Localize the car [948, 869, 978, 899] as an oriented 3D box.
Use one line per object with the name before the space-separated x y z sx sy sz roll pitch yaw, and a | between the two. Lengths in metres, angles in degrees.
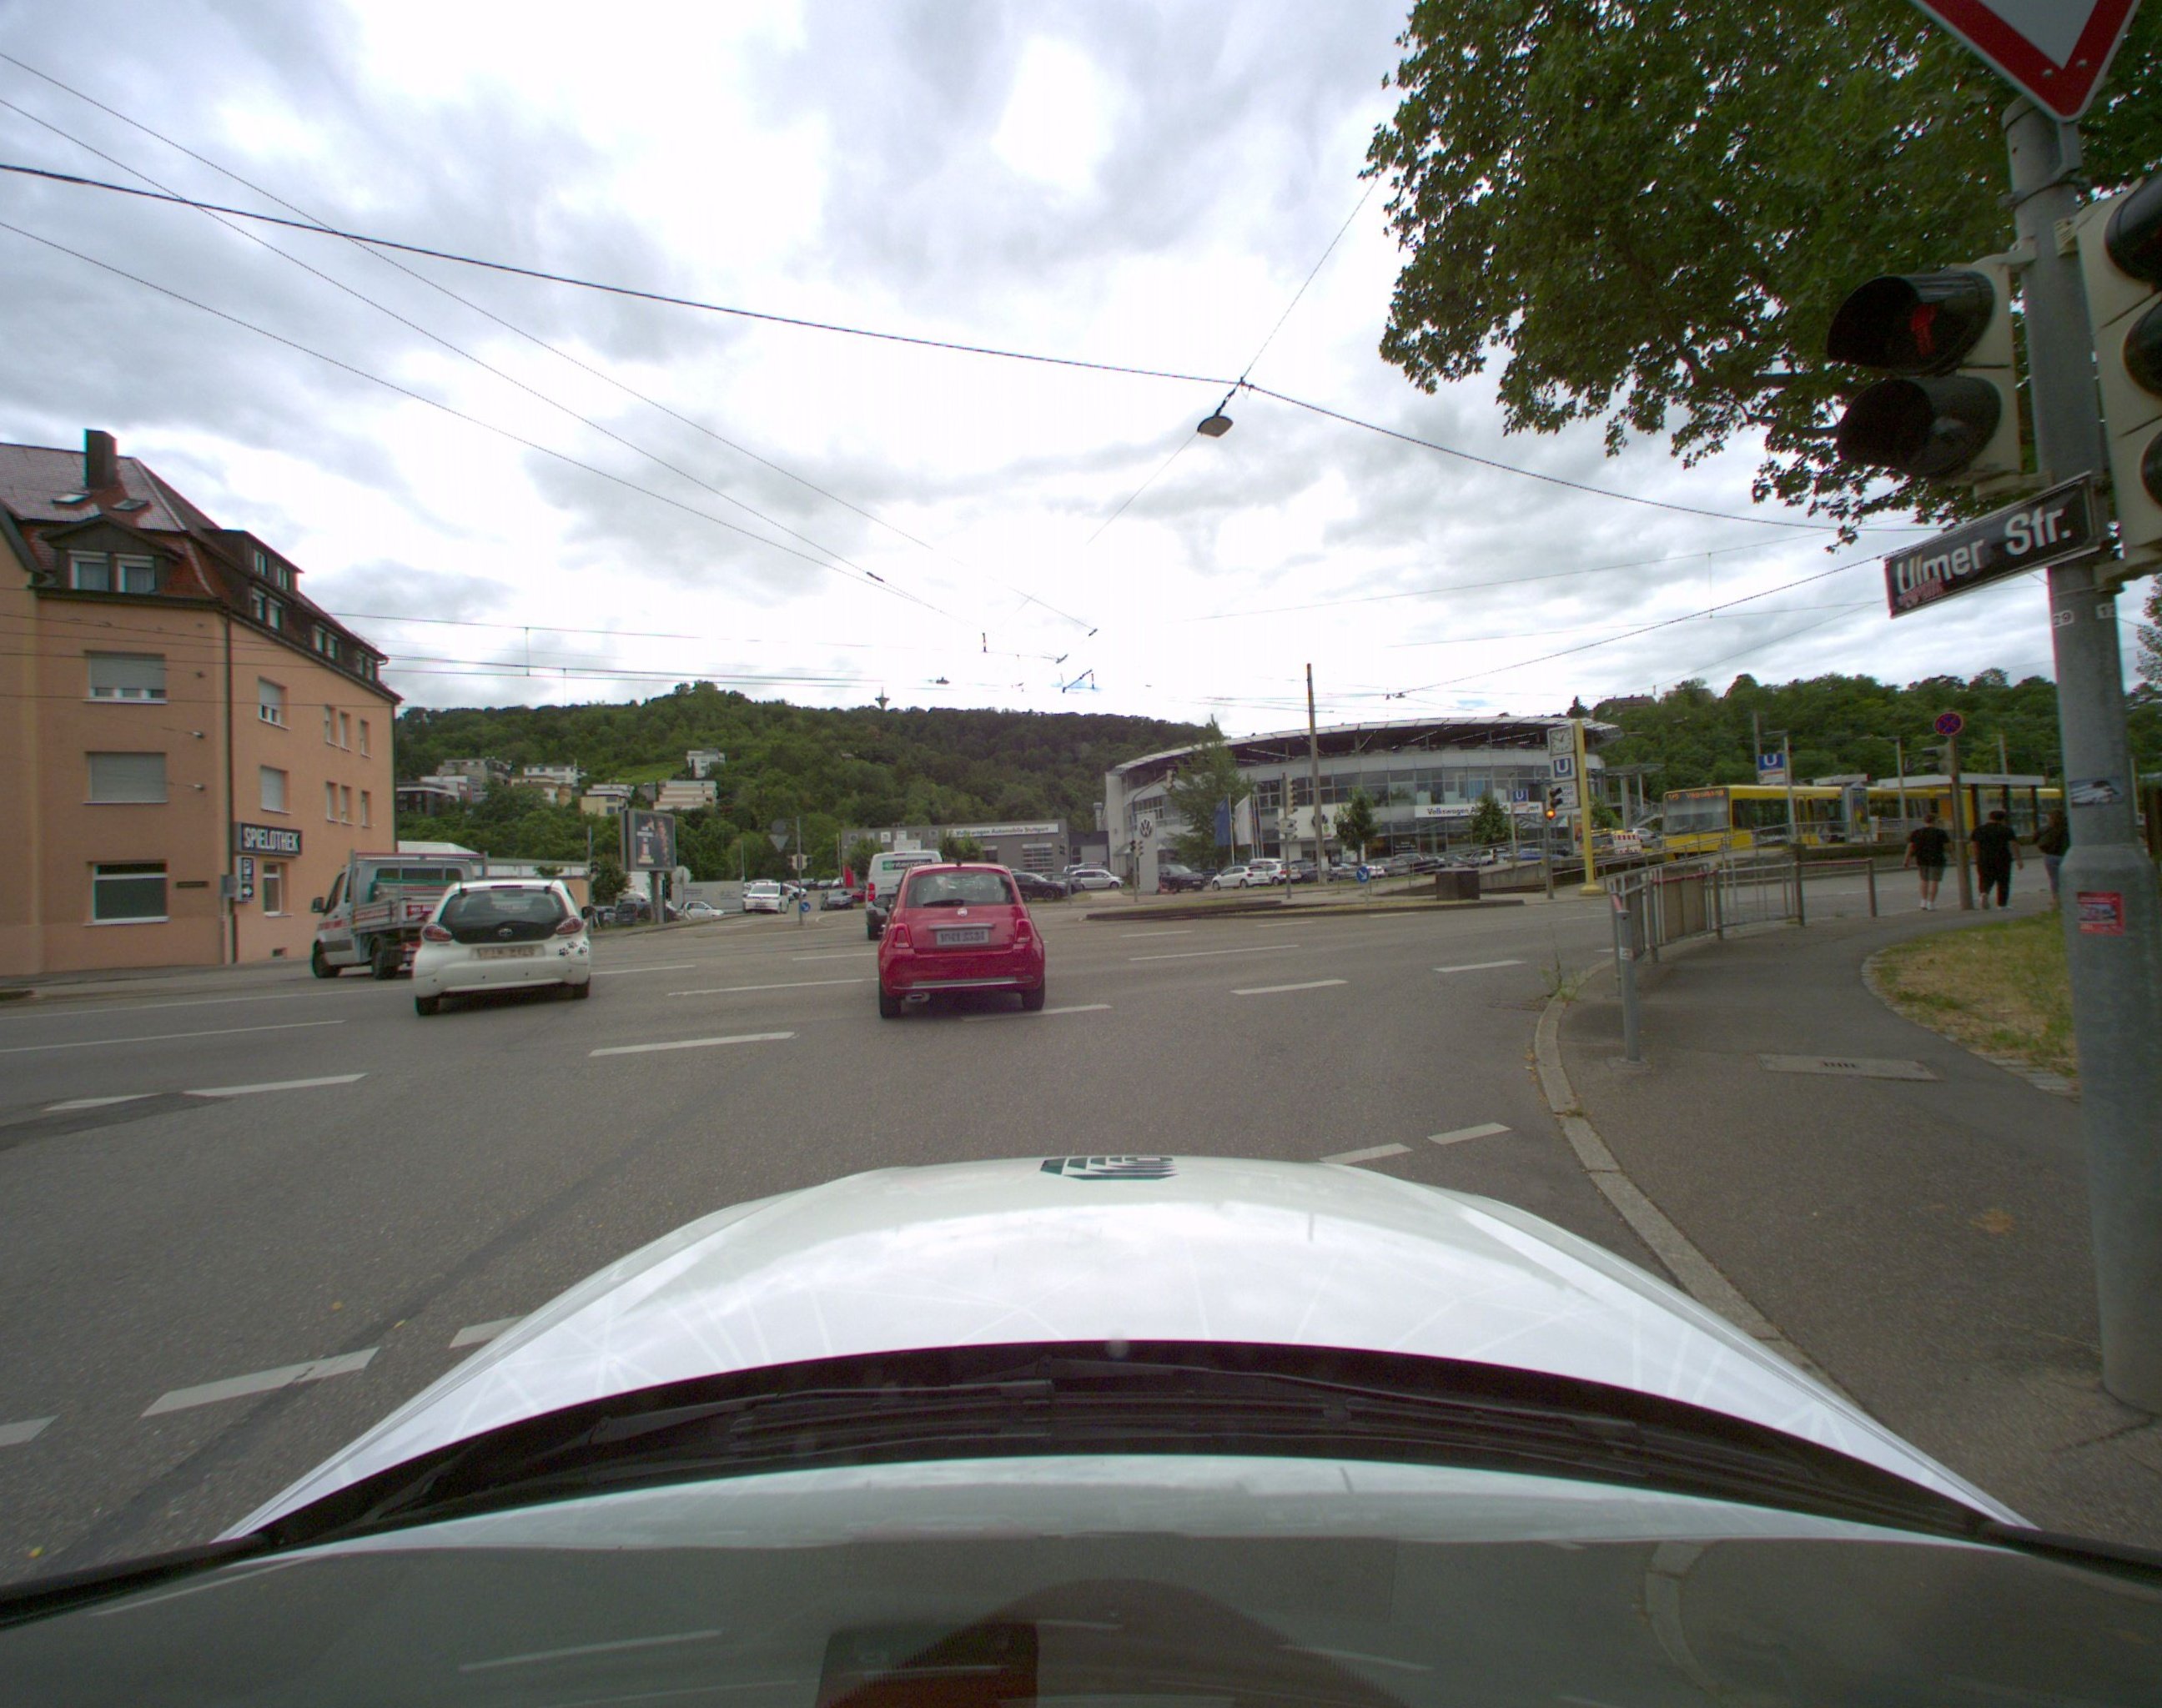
car | -8.759 2.269 60.686 1.992 2.014 5.004 -3 -3 -7

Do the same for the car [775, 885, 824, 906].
car | -28.229 4.184 81.705 4.506 1.997 1.988 1 -3 -17

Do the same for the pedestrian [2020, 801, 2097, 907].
pedestrian | 15.987 0.020 13.329 0.673 1.690 0.599 2 -4 -26

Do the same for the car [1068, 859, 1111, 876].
car | 0.925 1.511 88.241 4.488 1.729 1.996 1 -3 -5

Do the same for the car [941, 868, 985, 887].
car | -11.315 2.288 78.108 3.976 1.794 1.852 0 -3 -2

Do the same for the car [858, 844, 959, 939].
car | -4.388 0.976 20.174 2.004 2.041 4.801 1 -4 -18

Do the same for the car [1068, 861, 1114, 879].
car | 0.987 1.611 83.054 4.488 1.729 1.996 1 -3 -5

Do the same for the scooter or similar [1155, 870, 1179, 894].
scooter or similar | 4.742 1.556 44.964 1.200 1.288 0.573 1 -3 -9

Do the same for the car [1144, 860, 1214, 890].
car | 5.698 1.255 47.761 2.007 1.640 3.960 -1 -2 -31

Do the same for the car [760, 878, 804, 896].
car | -35.174 3.888 95.999 4.497 1.997 1.992 1 -3 -11

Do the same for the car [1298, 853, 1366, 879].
car | 16.319 0.818 53.131 1.933 1.554 3.960 2 -4 -31

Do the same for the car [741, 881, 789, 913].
car | -19.045 2.616 49.328 2.079 1.854 4.883 1 -3 -14

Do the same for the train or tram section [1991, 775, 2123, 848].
train or tram section | 60.652 -2.677 50.555 10.221 4.065 2.954 -3 -1 -28

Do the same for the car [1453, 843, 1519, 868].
car | 29.581 0.115 59.642 1.929 1.554 3.969 -3 -2 -23

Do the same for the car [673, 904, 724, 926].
car | -24.843 3.958 52.968 2.811 1.338 1.526 1 -3 -18

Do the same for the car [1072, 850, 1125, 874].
car | 1.495 0.709 70.742 4.488 1.997 1.996 1 -3 -5

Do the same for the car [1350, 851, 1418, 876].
car | 20.552 0.669 55.376 1.933 1.554 3.960 2 -4 -31

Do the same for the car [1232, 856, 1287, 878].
car | 14.031 1.070 64.156 1.937 1.554 3.953 3 -4 -39

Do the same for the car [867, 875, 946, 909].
car | -12.181 2.675 57.181 4.985 2.014 1.999 -4 -3 0

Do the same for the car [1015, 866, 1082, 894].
car | -2.092 1.696 52.153 3.991 1.706 1.990 1 -3 -13

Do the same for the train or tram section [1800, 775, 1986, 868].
train or tram section | 39.477 -1.682 39.432 11.940 3.966 2.725 -3 -1 -28

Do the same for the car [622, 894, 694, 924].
car | -24.704 3.155 47.558 3.582 1.486 1.587 -2 -1 -31

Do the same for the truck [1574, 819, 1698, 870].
truck | 37.794 -0.661 55.366 9.024 3.078 2.680 -2 -2 -26

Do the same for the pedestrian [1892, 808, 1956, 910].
pedestrian | 15.850 0.114 15.318 0.673 1.868 0.599 2 -4 -26

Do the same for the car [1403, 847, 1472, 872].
car | 24.956 0.413 57.149 1.934 1.554 3.960 -3 -1 -31

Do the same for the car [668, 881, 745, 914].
car | -25.699 2.994 55.959 4.527 2.243 1.979 2 -4 -34

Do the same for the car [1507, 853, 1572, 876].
car | 34.644 0.817 61.605 1.929 1.554 3.969 2 -3 -22

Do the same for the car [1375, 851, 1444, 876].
car | 22.662 0.664 56.309 1.934 1.554 3.960 -3 -1 -31

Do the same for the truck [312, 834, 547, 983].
truck | -12.836 1.104 15.890 5.580 2.422 2.336 -5 -4 38

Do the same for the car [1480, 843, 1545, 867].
car | 32.339 0.118 61.123 1.929 1.554 3.969 2 -3 -22

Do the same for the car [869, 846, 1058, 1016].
car | -1.419 0.757 9.471 1.698 1.525 3.985 1 -2 -10

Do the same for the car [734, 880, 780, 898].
car | -36.356 3.977 91.471 4.497 1.997 1.992 1 -3 -11

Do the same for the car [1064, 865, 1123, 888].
car | 0.966 1.748 63.643 4.488 1.729 1.996 1 -3 -5

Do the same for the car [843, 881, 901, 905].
car | -17.852 3.315 69.831 4.488 1.997 1.996 1 -3 -5

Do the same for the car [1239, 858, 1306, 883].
car | 11.901 1.058 50.867 1.820 1.477 3.960 2 -4 -31

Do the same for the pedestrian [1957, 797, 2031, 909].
pedestrian | 15.594 -0.009 13.919 0.673 1.867 0.599 -1 -2 -26

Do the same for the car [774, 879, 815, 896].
car | -35.807 4.185 101.818 4.497 1.997 1.992 1 -3 -11

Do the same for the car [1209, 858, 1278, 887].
car | 9.854 1.163 49.735 2.006 1.640 3.960 2 -4 -31

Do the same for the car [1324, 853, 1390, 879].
car | 18.413 0.819 54.502 1.734 1.554 3.960 2 -4 -31

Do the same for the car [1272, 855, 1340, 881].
car | 14.239 0.928 51.741 1.933 1.554 3.960 2 -4 -31

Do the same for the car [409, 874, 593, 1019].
car | -7.151 1.002 10.232 1.605 1.420 3.338 -2 0 -33

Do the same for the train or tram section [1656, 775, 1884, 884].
train or tram section | 28.857 -1.116 33.857 11.940 3.966 2.725 -3 -1 -28

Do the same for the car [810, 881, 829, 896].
car | -35.704 4.675 111.304 1.995 1.997 4.489 1 -3 -13

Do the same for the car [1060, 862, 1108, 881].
car | 0.246 1.746 78.636 4.488 1.729 1.996 1 -3 -5

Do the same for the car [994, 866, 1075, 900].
car | -2.440 1.509 43.380 3.963 1.639 2.006 0 1 9

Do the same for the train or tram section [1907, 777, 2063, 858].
train or tram section | 50.096 -2.119 44.999 11.940 3.966 2.725 -3 -1 -28
